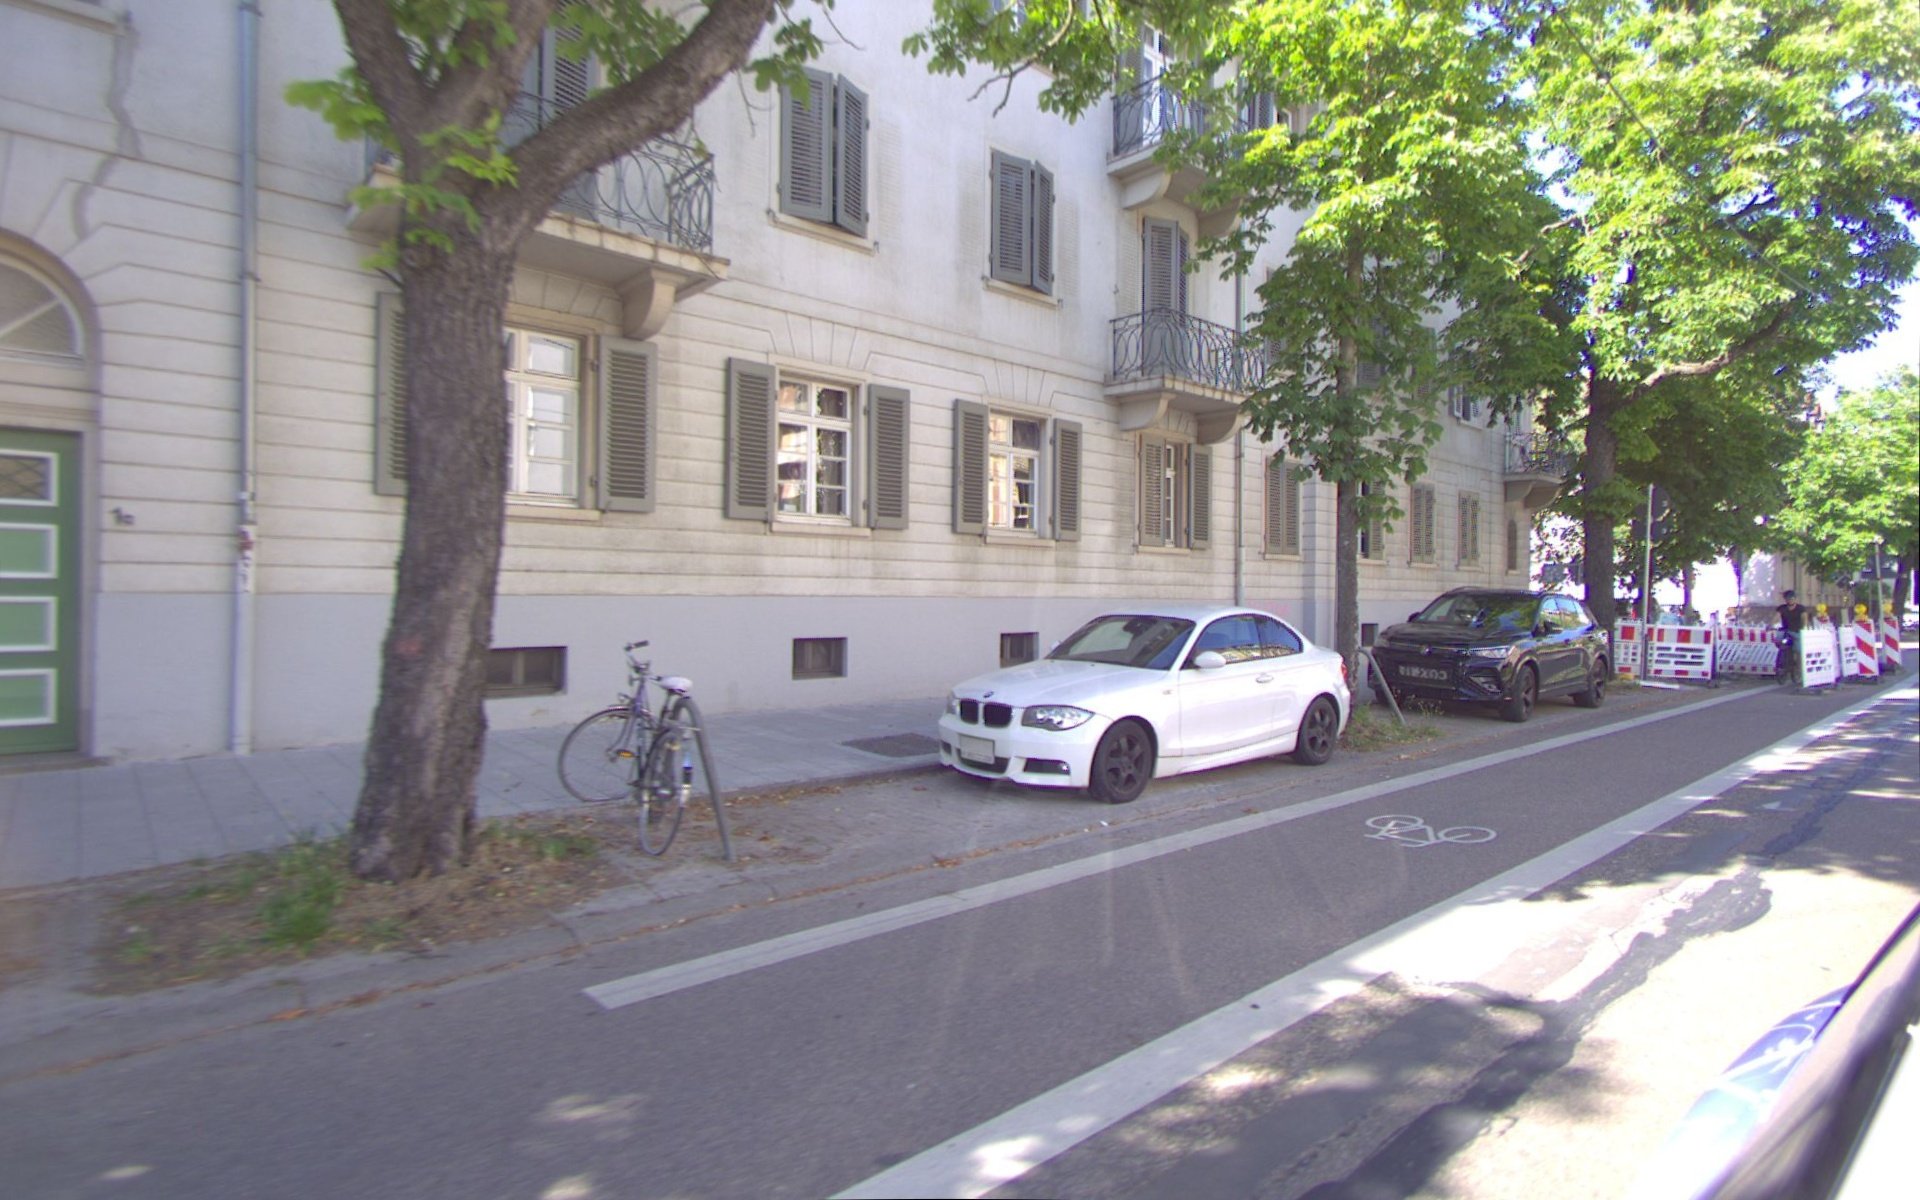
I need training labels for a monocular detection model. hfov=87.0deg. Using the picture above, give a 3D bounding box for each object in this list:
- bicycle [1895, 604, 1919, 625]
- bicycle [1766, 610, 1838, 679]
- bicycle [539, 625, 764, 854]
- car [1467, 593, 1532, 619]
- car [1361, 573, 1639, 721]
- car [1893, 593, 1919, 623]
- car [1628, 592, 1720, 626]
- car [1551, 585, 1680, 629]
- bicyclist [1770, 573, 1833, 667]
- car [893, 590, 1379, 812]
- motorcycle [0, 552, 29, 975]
[{"bbox_3d":[46.637,0.694,49.309,1.563,0.992,0.631,2,1,40],"label":"bicycle"},{"bbox_3d":[16.253,0.826,19.520,2.060,1.258,0.762,0,-1,-42],"label":"bicycle"},{"bbox_3d":[-1.859,0.728,5.945,0.673,1.056,1.623,0,2,-40],"label":"bicycle"},{"bbox_3d":[32.554,0.346,61.150,1.408,1.519,3.509,-1,0,-14],"label":"car"},{"bbox_3d":[7.435,0.514,13.733,4.504,1.646,1.814,0,2,-41],"label":"car"},{"bbox_3d":[50.185,0.404,52.884,4.141,1.490,1.704,0,1,-42],"label":"car"},{"bbox_3d":[35.811,0.428,50.851,1.687,1.557,3.447,-3,1,-14],"label":"car"},{"bbox_3d":[31.075,0.284,48.195,1.958,1.914,5.077,-2,1,-15],"label":"car"},{"bbox_3d":[16.205,0.374,19.491,1.029,1.761,0.762,0,-1,-42],"label":"bicyclist"},{"bbox_3d":[1.671,0.645,8.611,4.279,1.399,1.727,0,2,-40],"label":"car"},{"bbox_3d":[-4.681,0.577,3.111,2.632,1.507,0.915,0,2,-41],"label":"motorcycle"}]
